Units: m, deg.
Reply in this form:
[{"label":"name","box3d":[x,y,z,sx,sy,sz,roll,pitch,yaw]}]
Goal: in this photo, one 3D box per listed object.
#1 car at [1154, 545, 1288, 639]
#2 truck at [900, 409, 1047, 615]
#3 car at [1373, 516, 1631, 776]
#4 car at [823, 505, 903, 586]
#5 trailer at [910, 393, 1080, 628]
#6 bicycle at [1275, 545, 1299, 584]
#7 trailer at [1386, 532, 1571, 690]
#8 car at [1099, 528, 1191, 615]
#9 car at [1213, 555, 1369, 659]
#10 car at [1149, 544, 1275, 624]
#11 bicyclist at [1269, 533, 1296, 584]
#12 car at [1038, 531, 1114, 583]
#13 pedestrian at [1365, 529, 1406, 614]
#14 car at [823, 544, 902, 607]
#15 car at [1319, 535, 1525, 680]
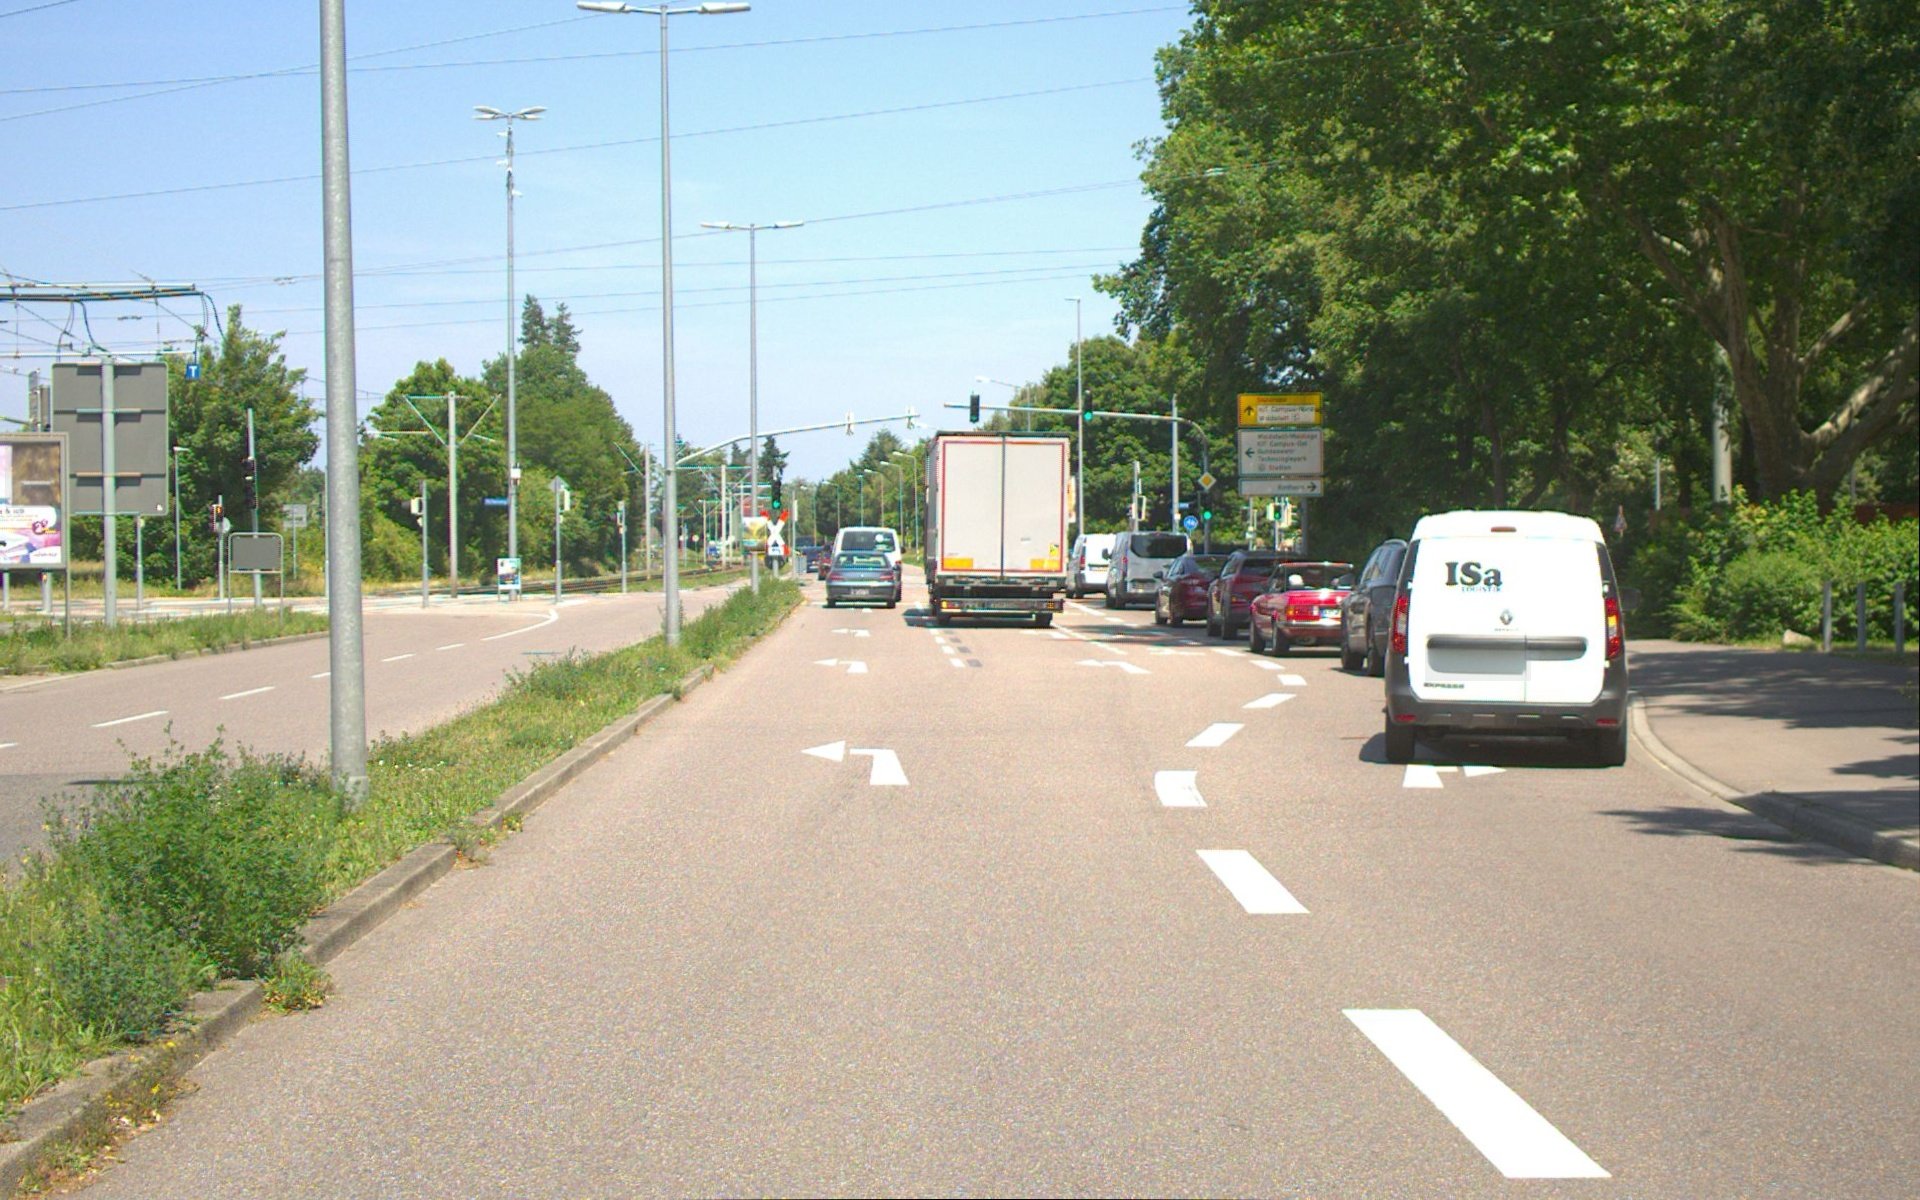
[{"label":"car","box3d":[4.530,-0.161,60.171,1.858,1.544,3.887,1,1,-3]},{"label":"truck","box3d":[0.218,-2.017,78.033,2.827,4.329,8.285,2,2,-2]},{"label":"car","box3d":[4.028,0.274,25.717,1.710,1.741,4.426,1,1,8]},{"label":"car","box3d":[-2.642,-1.496,92.724,1.993,2.103,4.749,0,2,-4]},{"label":"trailer","box3d":[0.599,-1.786,69.521,2.827,4.406,8.751,1,1,-3]},{"label":"bicycle","box3d":[11.305,-1.219,118.716,0.644,1.300,1.625,-2,0,10]},{"label":"trailer","box3d":[5.727,0.092,38.218,1.468,1.663,2.856,1,1,-3]},{"label":"car","box3d":[4.613,-0.736,86.254,1.890,2.114,3.887,1,1,-3]},{"label":"car","box3d":[4.777,0.072,50.143,1.654,1.392,4.268,1,1,-3]},{"label":"car","box3d":[5.081,-0.351,69.795,1.993,1.498,4.503,0,2,-3]},{"label":"bicyclist","box3d":[11.147,-1.423,118.723,0.802,1.721,0.679,-2,0,10]},{"label":"car","box3d":[3.343,-1.268,99.967,1.993,1.432,4.252,0,2,-1]},{"label":"pedestrian","box3d":[9.232,-0.616,74.584,0.753,1.809,0.693,-1,1,-2]},{"label":"car","box3d":[-2.401,-0.583,84.724,1.892,1.367,4.430,-1,-2,-2]},{"label":"car","box3d":[5.560,0.046,41.868,1.699,1.648,4.399,1,1,-3]}]
